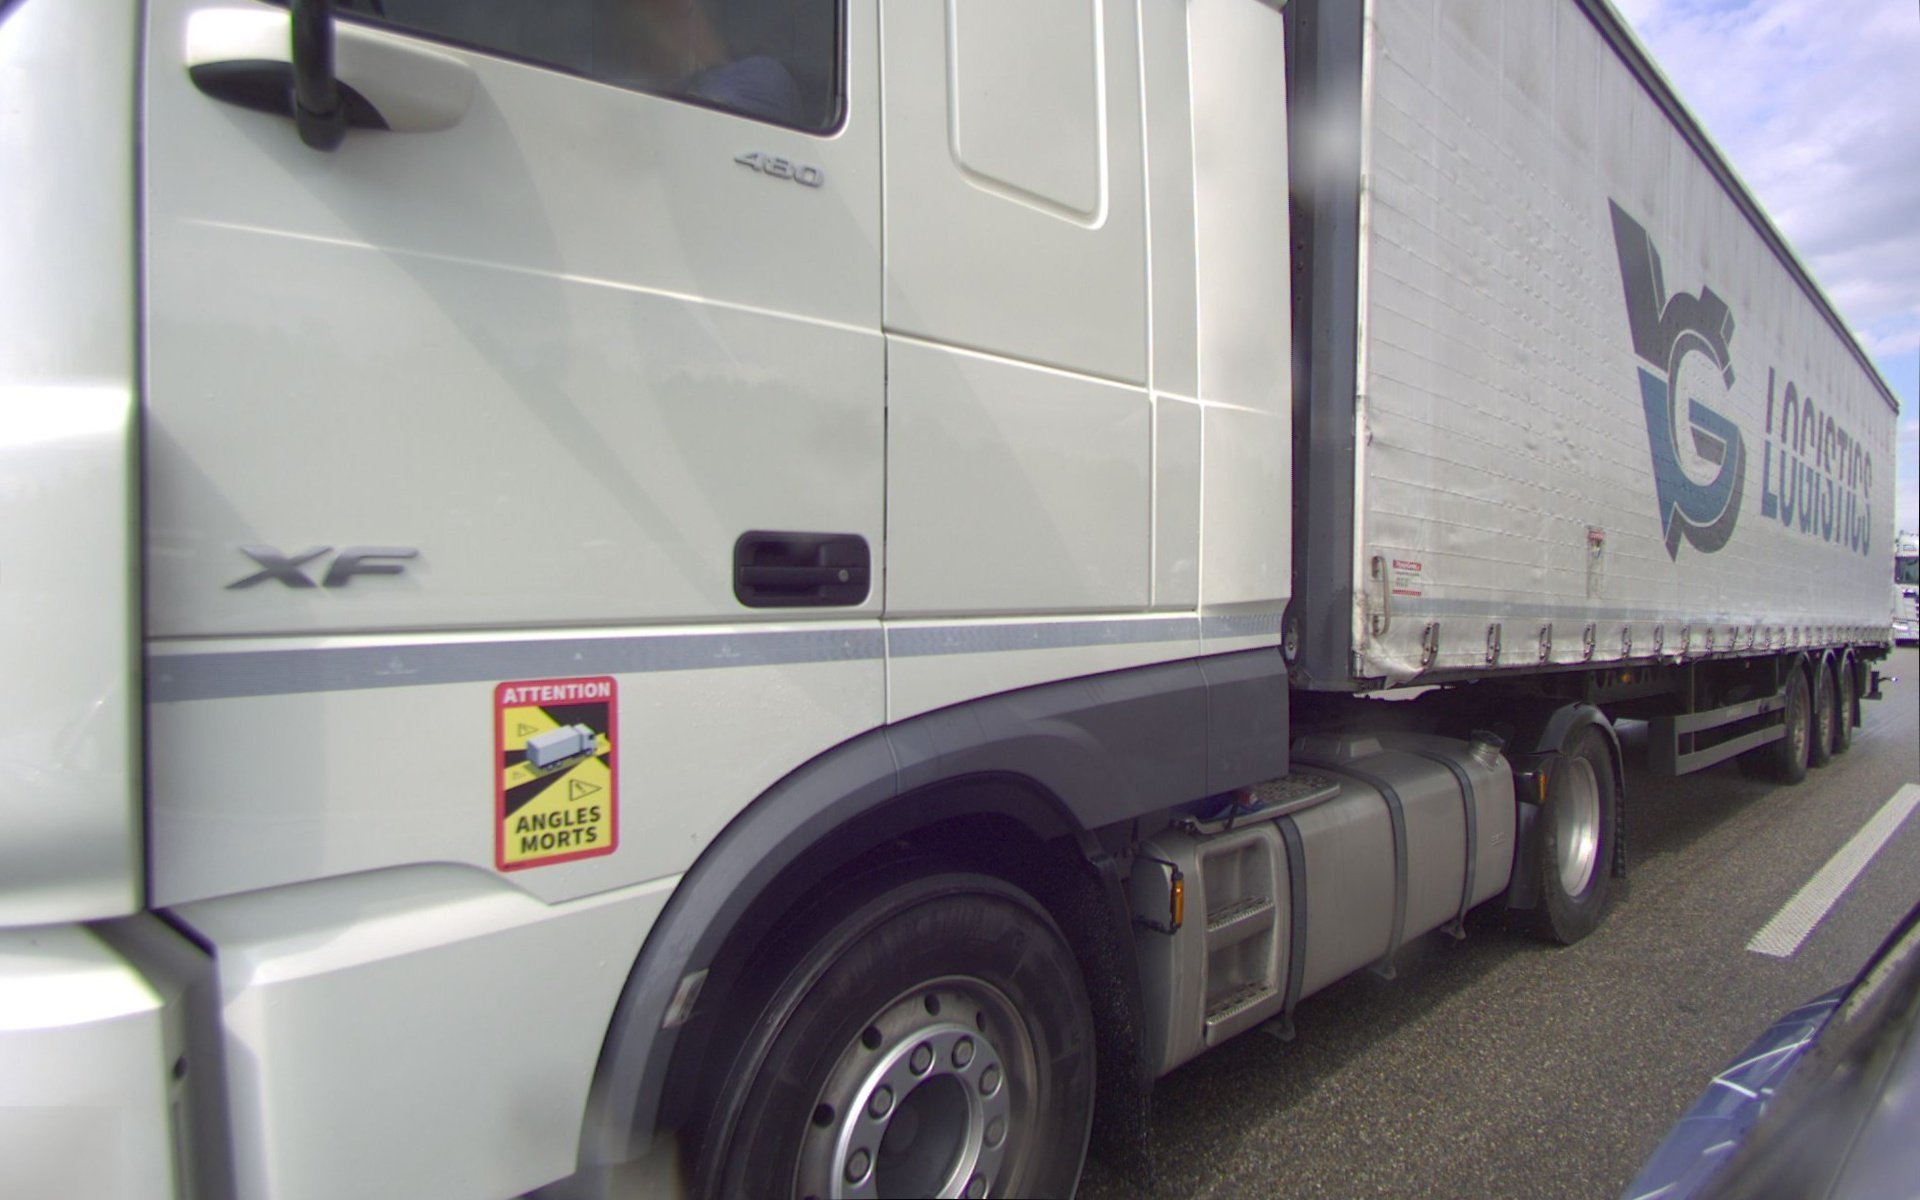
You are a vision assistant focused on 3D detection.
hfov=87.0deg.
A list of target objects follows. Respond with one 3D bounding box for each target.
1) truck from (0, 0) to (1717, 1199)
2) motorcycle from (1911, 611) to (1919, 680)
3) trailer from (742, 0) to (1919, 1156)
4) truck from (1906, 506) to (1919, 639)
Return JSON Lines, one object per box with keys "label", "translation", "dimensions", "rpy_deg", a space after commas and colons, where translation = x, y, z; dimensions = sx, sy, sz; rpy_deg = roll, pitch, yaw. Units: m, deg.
{"label": "truck", "translation": [0.254, -0.603, 4.018], "dimensions": [6.286, 3.940, 3.288], "rpy_deg": [0, 0, -42]}
{"label": "motorcycle", "translation": [18.637, 0.832, 18.906], "dimensions": [3.143, 1.163, 1.185], "rpy_deg": [-1, 1, -45]}
{"label": "trailer", "translation": [5.136, -0.591, 8.483], "dimensions": [13.886, 3.948, 3.288], "rpy_deg": [0, 0, -42]}
{"label": "truck", "translation": [34.469, -0.925, 34.757], "dimensions": [6.773, 4.328, 2.644], "rpy_deg": [-1, 1, -45]}
